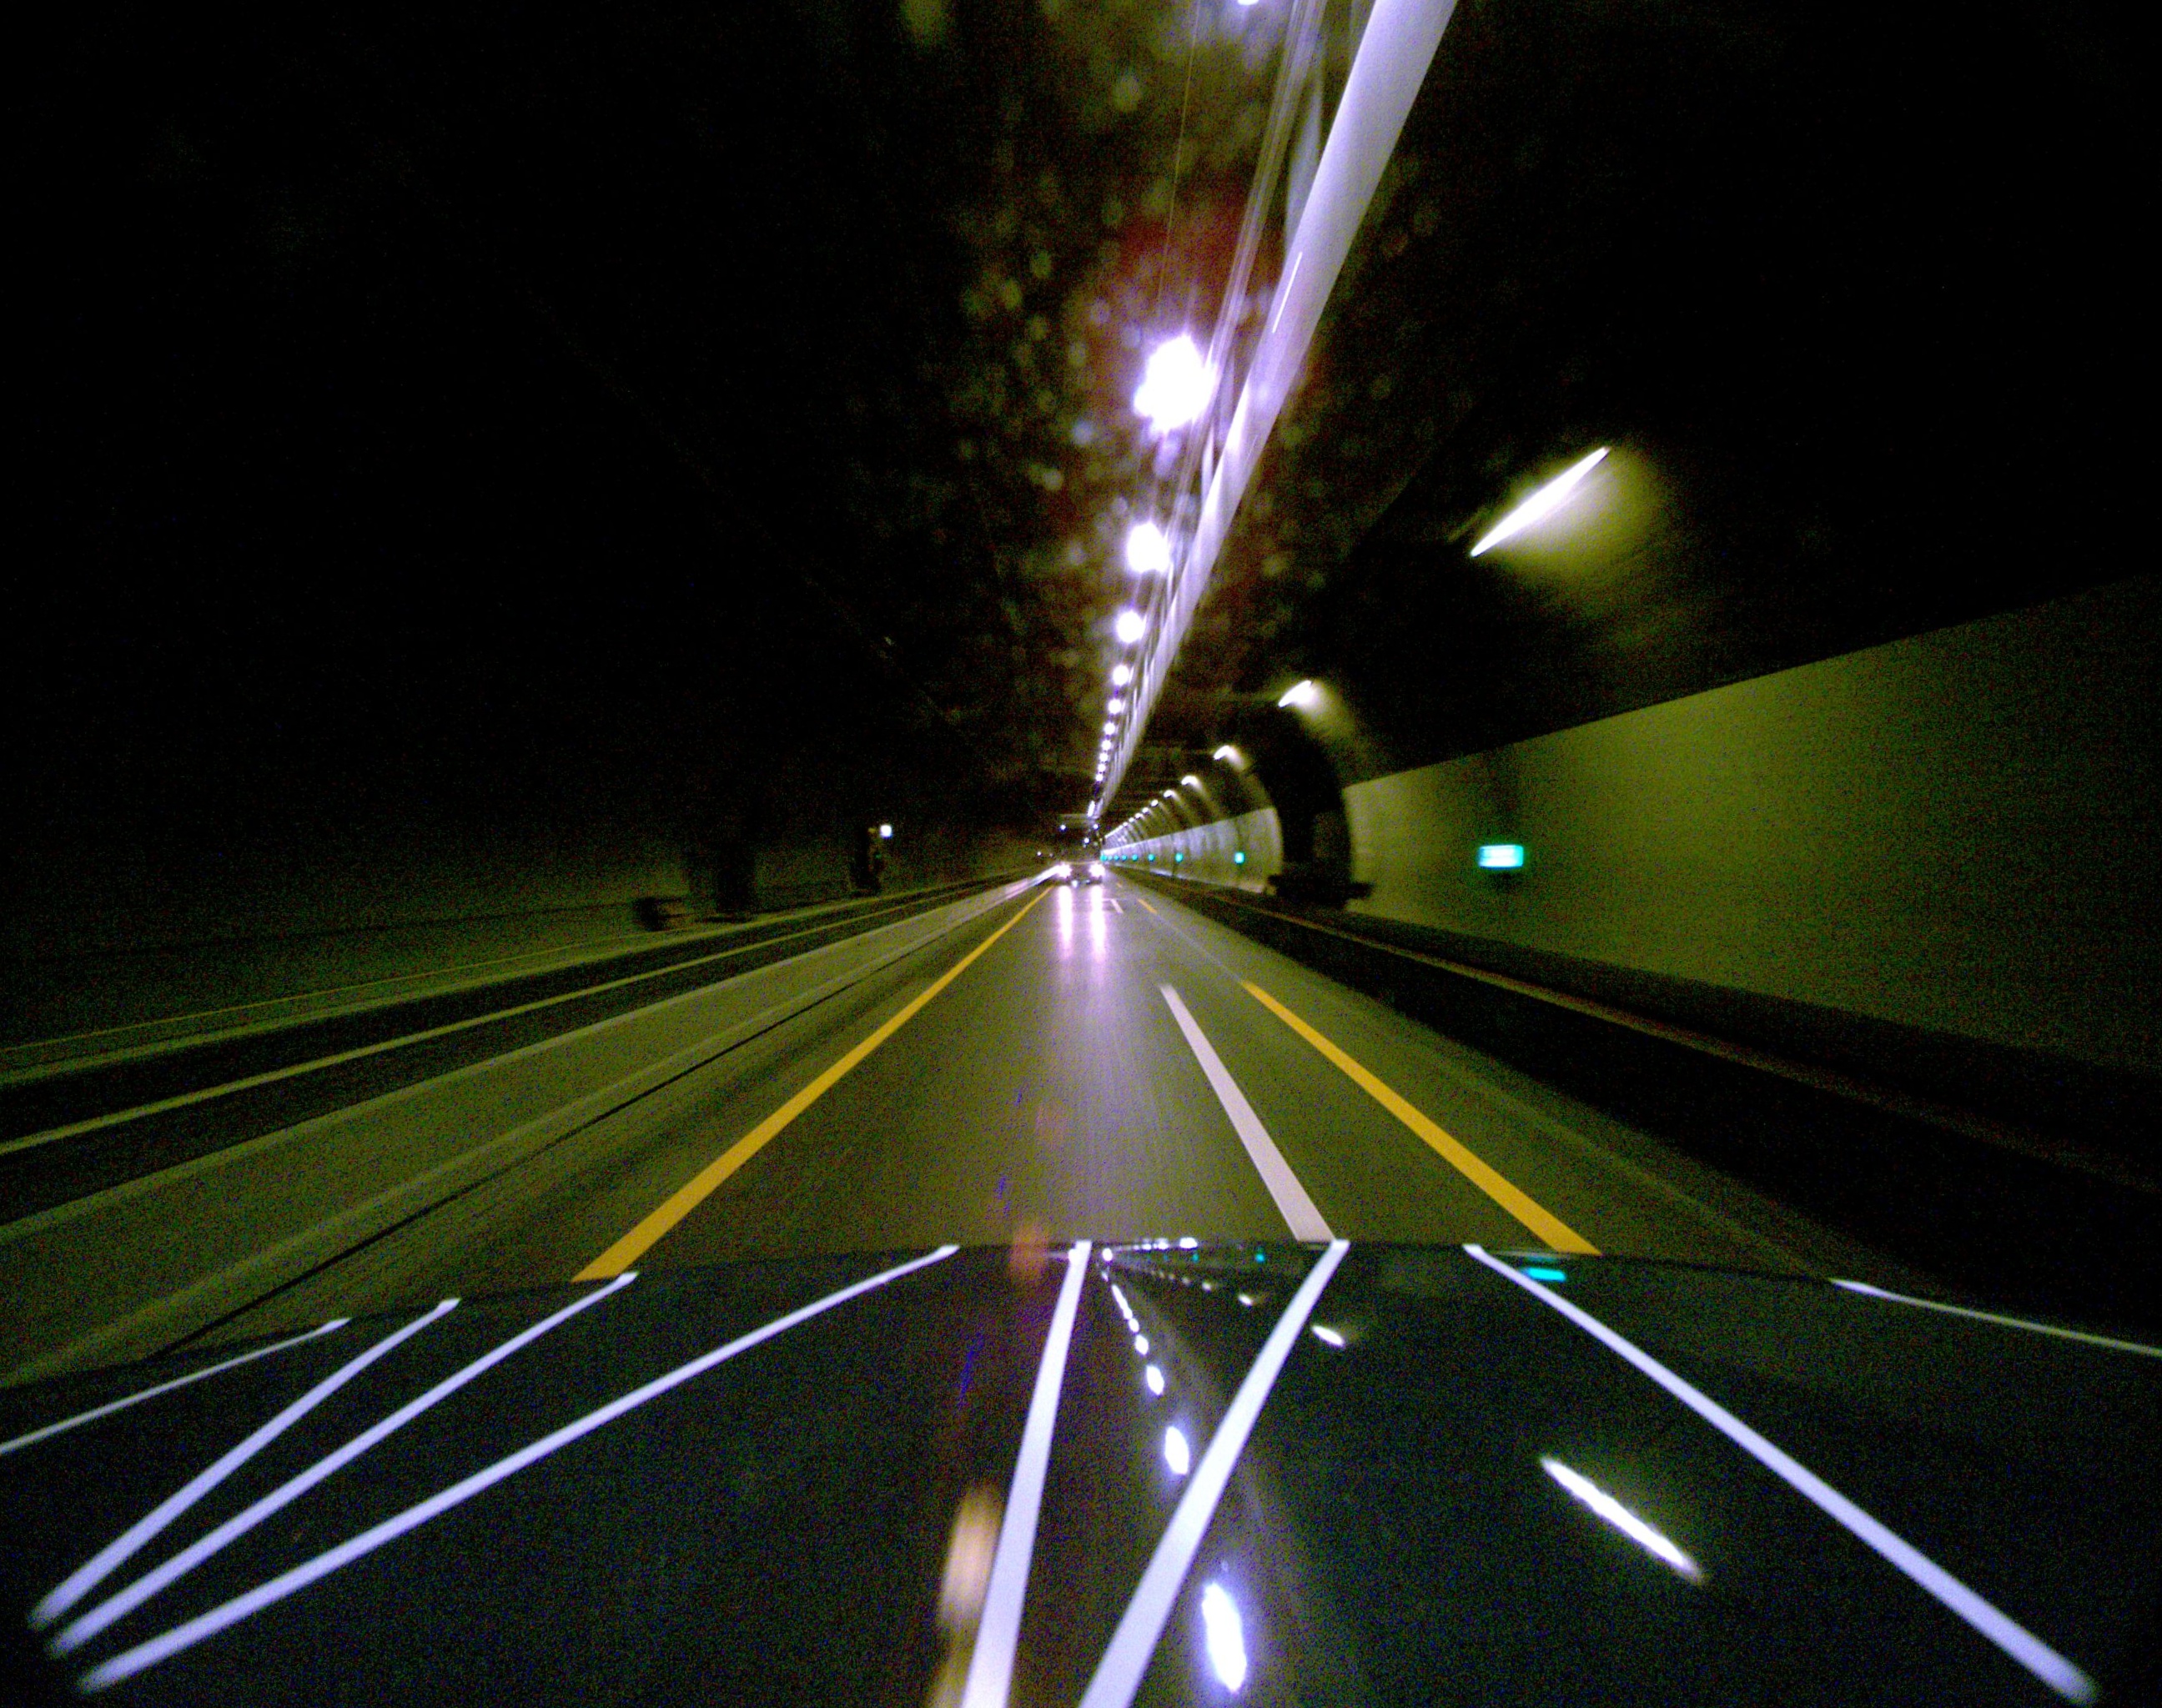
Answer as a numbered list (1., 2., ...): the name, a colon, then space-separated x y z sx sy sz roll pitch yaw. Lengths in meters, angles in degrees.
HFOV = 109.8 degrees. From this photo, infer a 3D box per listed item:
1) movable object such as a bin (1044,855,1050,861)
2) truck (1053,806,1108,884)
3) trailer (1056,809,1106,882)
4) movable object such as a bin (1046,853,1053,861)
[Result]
1. movable object such as a bin: -9.113 1.059 205.112 1.560 1.699 3.054 -2 1 -1
2. truck: -0.026 -0.527 46.167 2.951 4.338 6.674 -2 1 0
3. trailer: -0.032 -0.561 51.286 2.940 4.316 10.051 -2 1 0
4. movable object such as a bin: -8.259 0.741 199.118 1.688 2.133 4.627 -2 1 -1
